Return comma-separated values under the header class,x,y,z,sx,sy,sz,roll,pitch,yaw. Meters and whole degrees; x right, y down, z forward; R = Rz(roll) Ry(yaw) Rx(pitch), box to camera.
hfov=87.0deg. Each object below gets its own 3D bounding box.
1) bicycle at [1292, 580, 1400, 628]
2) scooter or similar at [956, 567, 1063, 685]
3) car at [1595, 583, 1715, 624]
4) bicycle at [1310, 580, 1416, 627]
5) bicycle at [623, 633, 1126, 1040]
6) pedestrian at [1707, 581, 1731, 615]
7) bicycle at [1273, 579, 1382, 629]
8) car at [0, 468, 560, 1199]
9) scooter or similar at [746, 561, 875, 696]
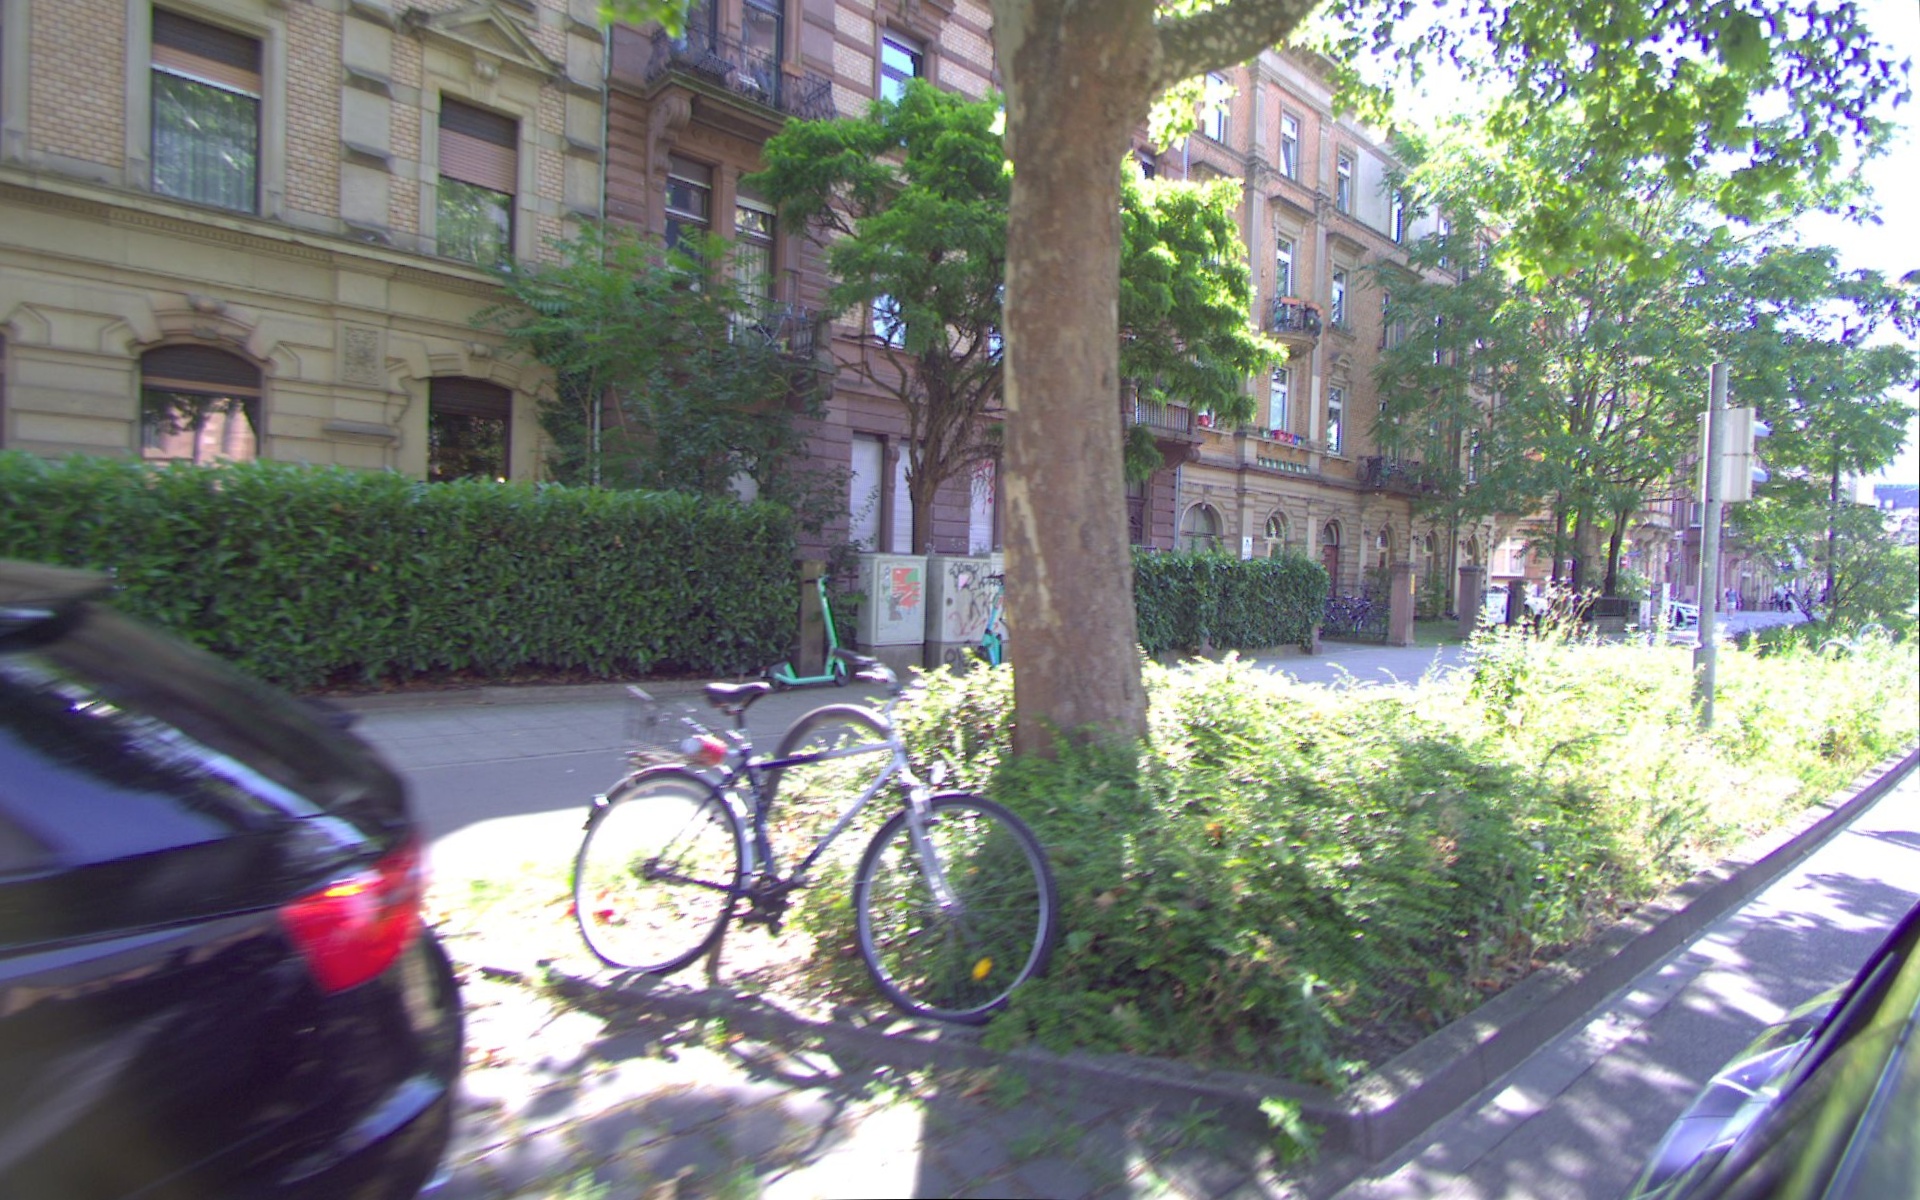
class,x,y,z,sx,sy,sz,roll,pitch,yaw
bicycle,10.184,0.078,26.748,2.559,1.125,0.765,3,2,29
scooter or similar,0.586,0.284,11.865,1.124,1.298,0.583,0,2,-40
car,29.964,0.097,43.687,4.075,1.535,1.861,4,2,40
bicycle,11.020,0.067,27.682,2.559,1.125,1.102,3,2,29
bicycle,-0.289,0.715,3.428,1.615,1.102,0.470,2,1,15
pedestrian,39.363,-0.107,52.503,0.951,1.739,0.796,0,2,-42
bicycle,9.441,0.081,26.000,2.554,1.125,0.767,3,2,25
car,-2.947,0.566,0.769,4.563,1.526,1.837,0,3,-42
scooter or similar,-1.491,0.264,10.174,1.125,1.263,0.583,0,2,-42
